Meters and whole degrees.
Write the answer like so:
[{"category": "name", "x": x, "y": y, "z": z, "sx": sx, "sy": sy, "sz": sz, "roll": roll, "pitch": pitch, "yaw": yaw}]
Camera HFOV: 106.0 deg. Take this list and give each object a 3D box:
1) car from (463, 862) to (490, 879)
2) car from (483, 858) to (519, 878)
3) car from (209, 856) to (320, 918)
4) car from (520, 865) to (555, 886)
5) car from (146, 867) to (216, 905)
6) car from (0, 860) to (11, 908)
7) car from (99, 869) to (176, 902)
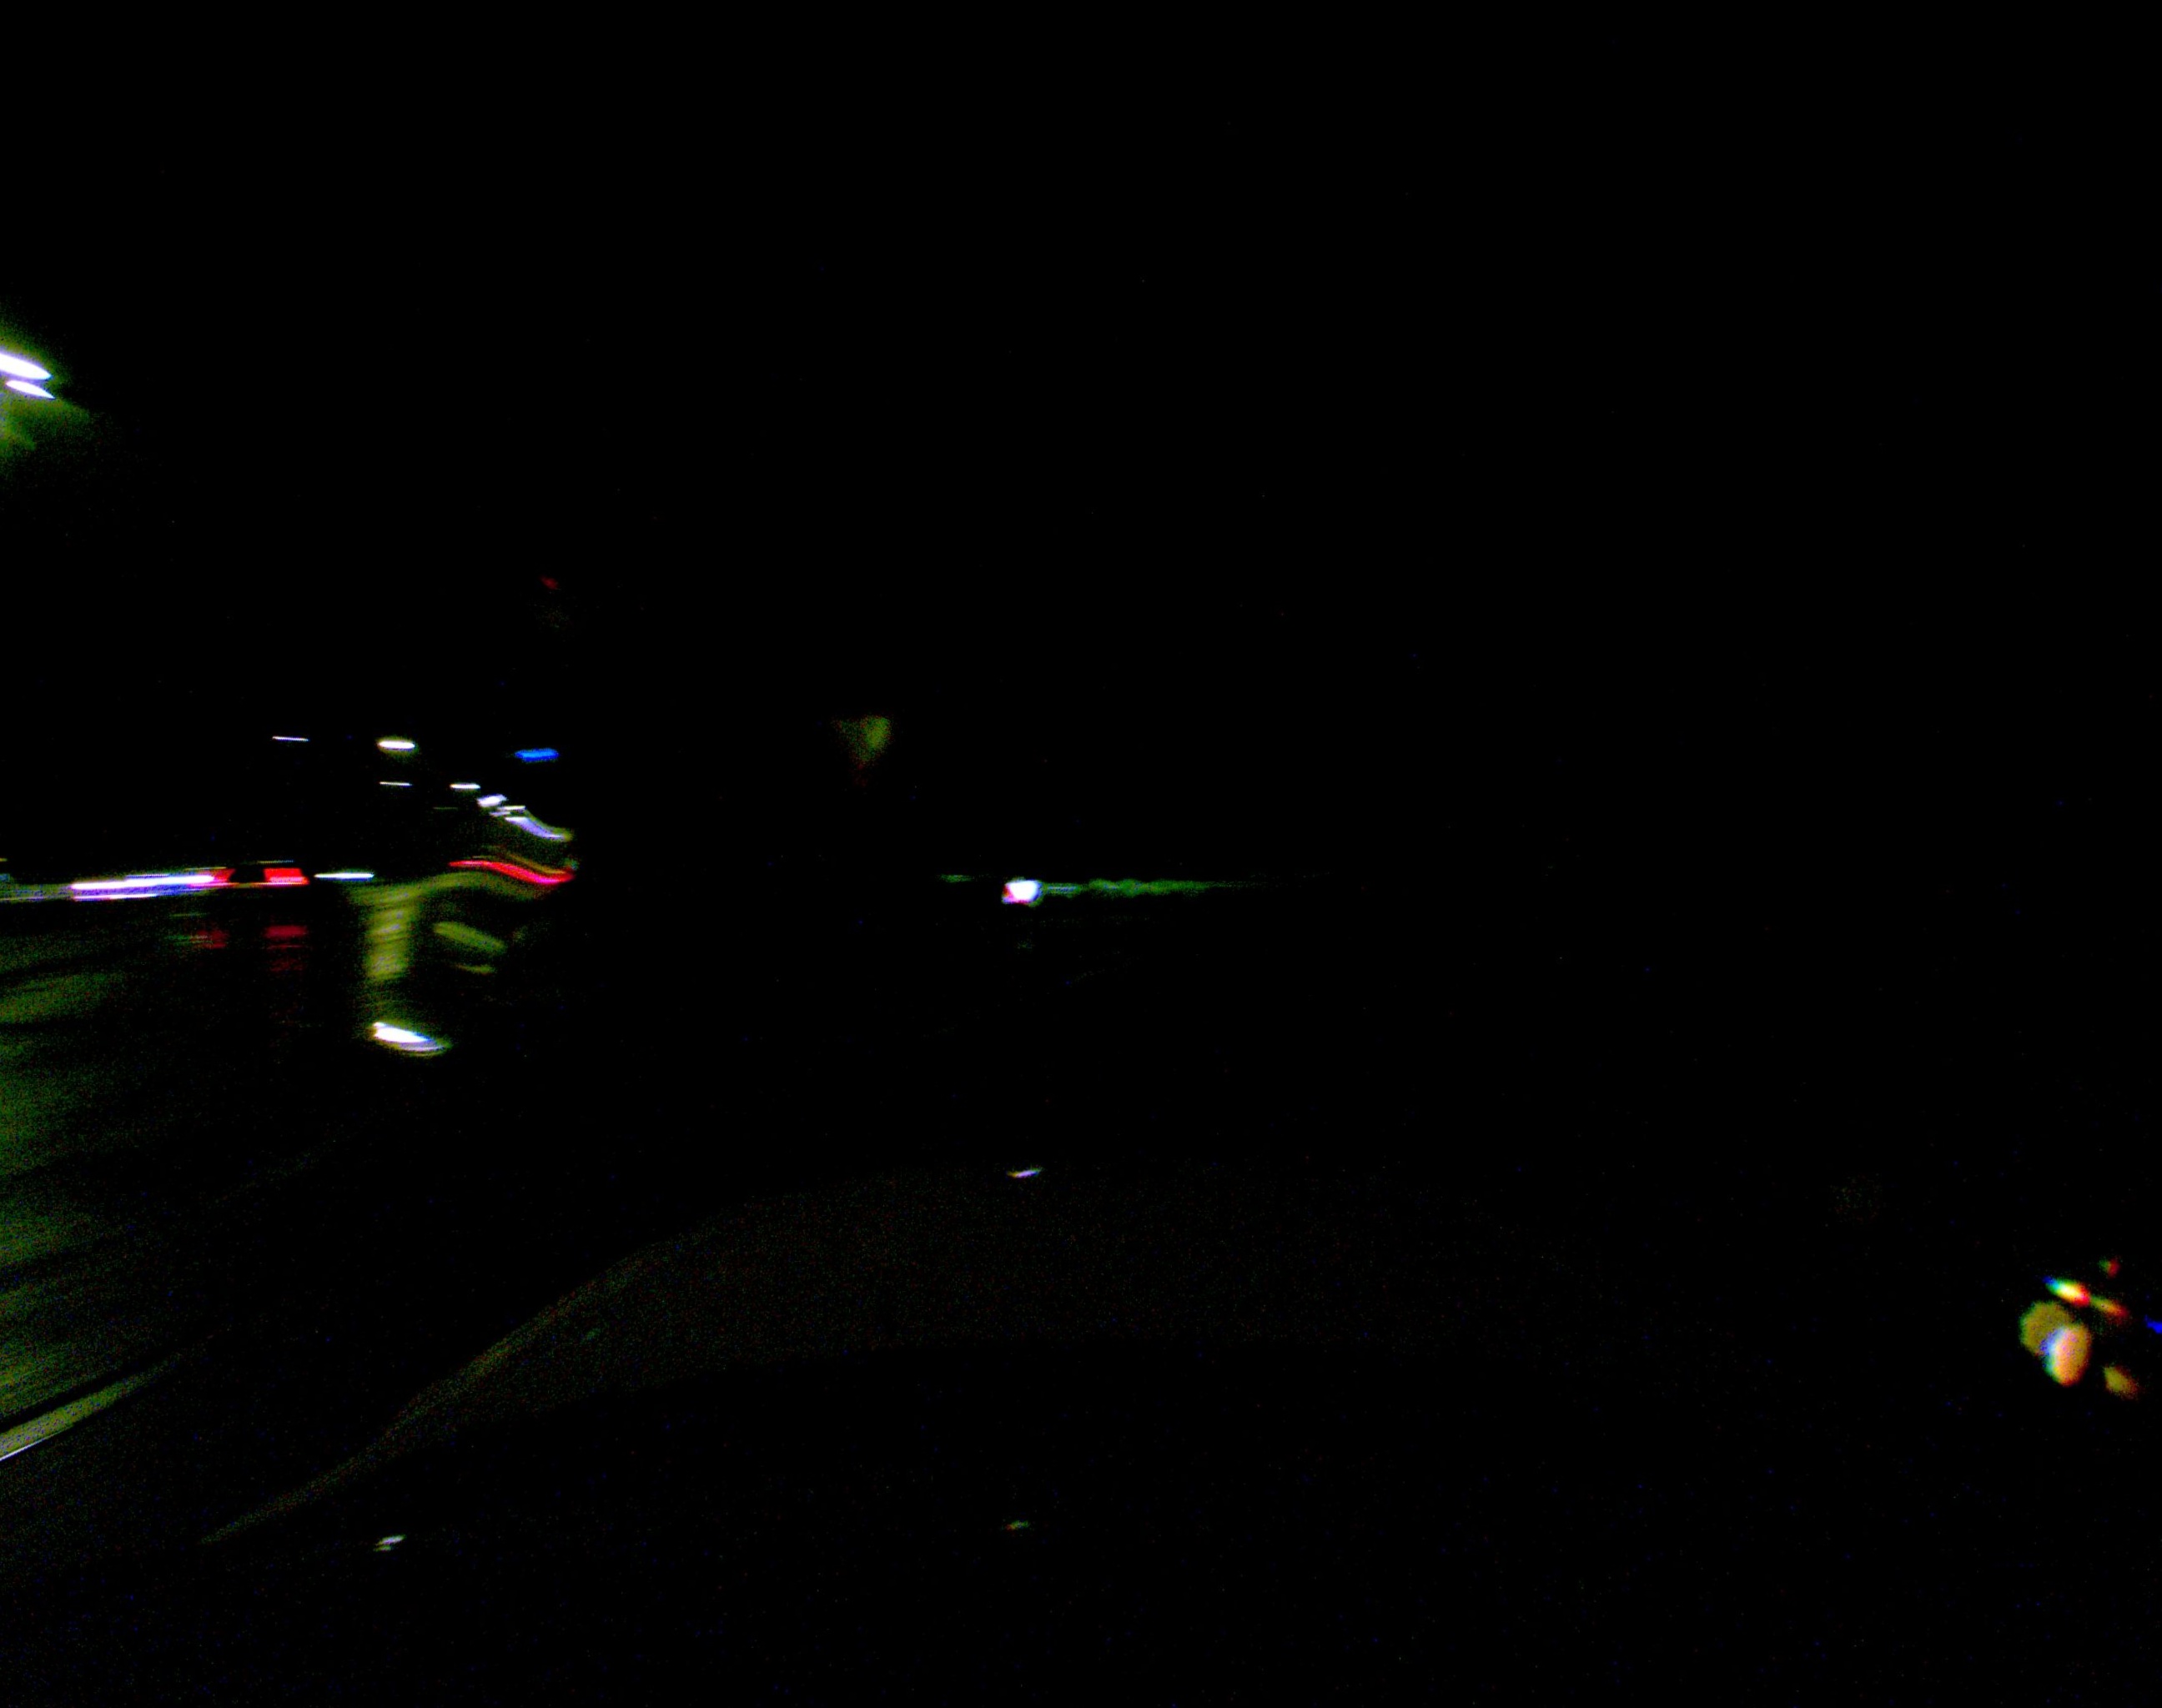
[{"category": "car", "x": -64.980, "y": 1.769, "z": 87.539, "sx": 2.194, "sy": 1.602, "sz": 3.955, "roll": 5, "pitch": -5, "yaw": -36}, {"category": "car", "x": -51.996, "y": 1.296, "z": 73.090, "sx": 2.191, "sy": 1.602, "sz": 3.961, "roll": 4, "pitch": -5, "yaw": -30}, {"category": "car", "x": -22.290, "y": 0.869, "z": 22.383, "sx": 1.811, "sy": 1.452, "sz": 4.218, "roll": 5, "pitch": -2, "yaw": -42}, {"category": "car", "x": -46.084, "y": 1.848, "z": 69.129, "sx": 1.920, "sy": 1.602, "sz": 3.964, "roll": 4, "pitch": -5, "yaw": -27}, {"category": "car", "x": -50.812, "y": 1.764, "z": 46.053, "sx": 1.599, "sy": 2.013, "sz": 3.755, "roll": 0, "pitch": 0, "yaw": -30}, {"category": "car", "x": -32.568, "y": 0.898, "z": 23.037, "sx": 1.599, "sy": 1.427, "sz": 3.318, "roll": 0, "pitch": 0, "yaw": -30}, {"category": "car", "x": -55.949, "y": 1.811, "z": 48.390, "sx": 1.760, "sy": 1.840, "sz": 3.976, "roll": 0, "pitch": 0, "yaw": -30}]
